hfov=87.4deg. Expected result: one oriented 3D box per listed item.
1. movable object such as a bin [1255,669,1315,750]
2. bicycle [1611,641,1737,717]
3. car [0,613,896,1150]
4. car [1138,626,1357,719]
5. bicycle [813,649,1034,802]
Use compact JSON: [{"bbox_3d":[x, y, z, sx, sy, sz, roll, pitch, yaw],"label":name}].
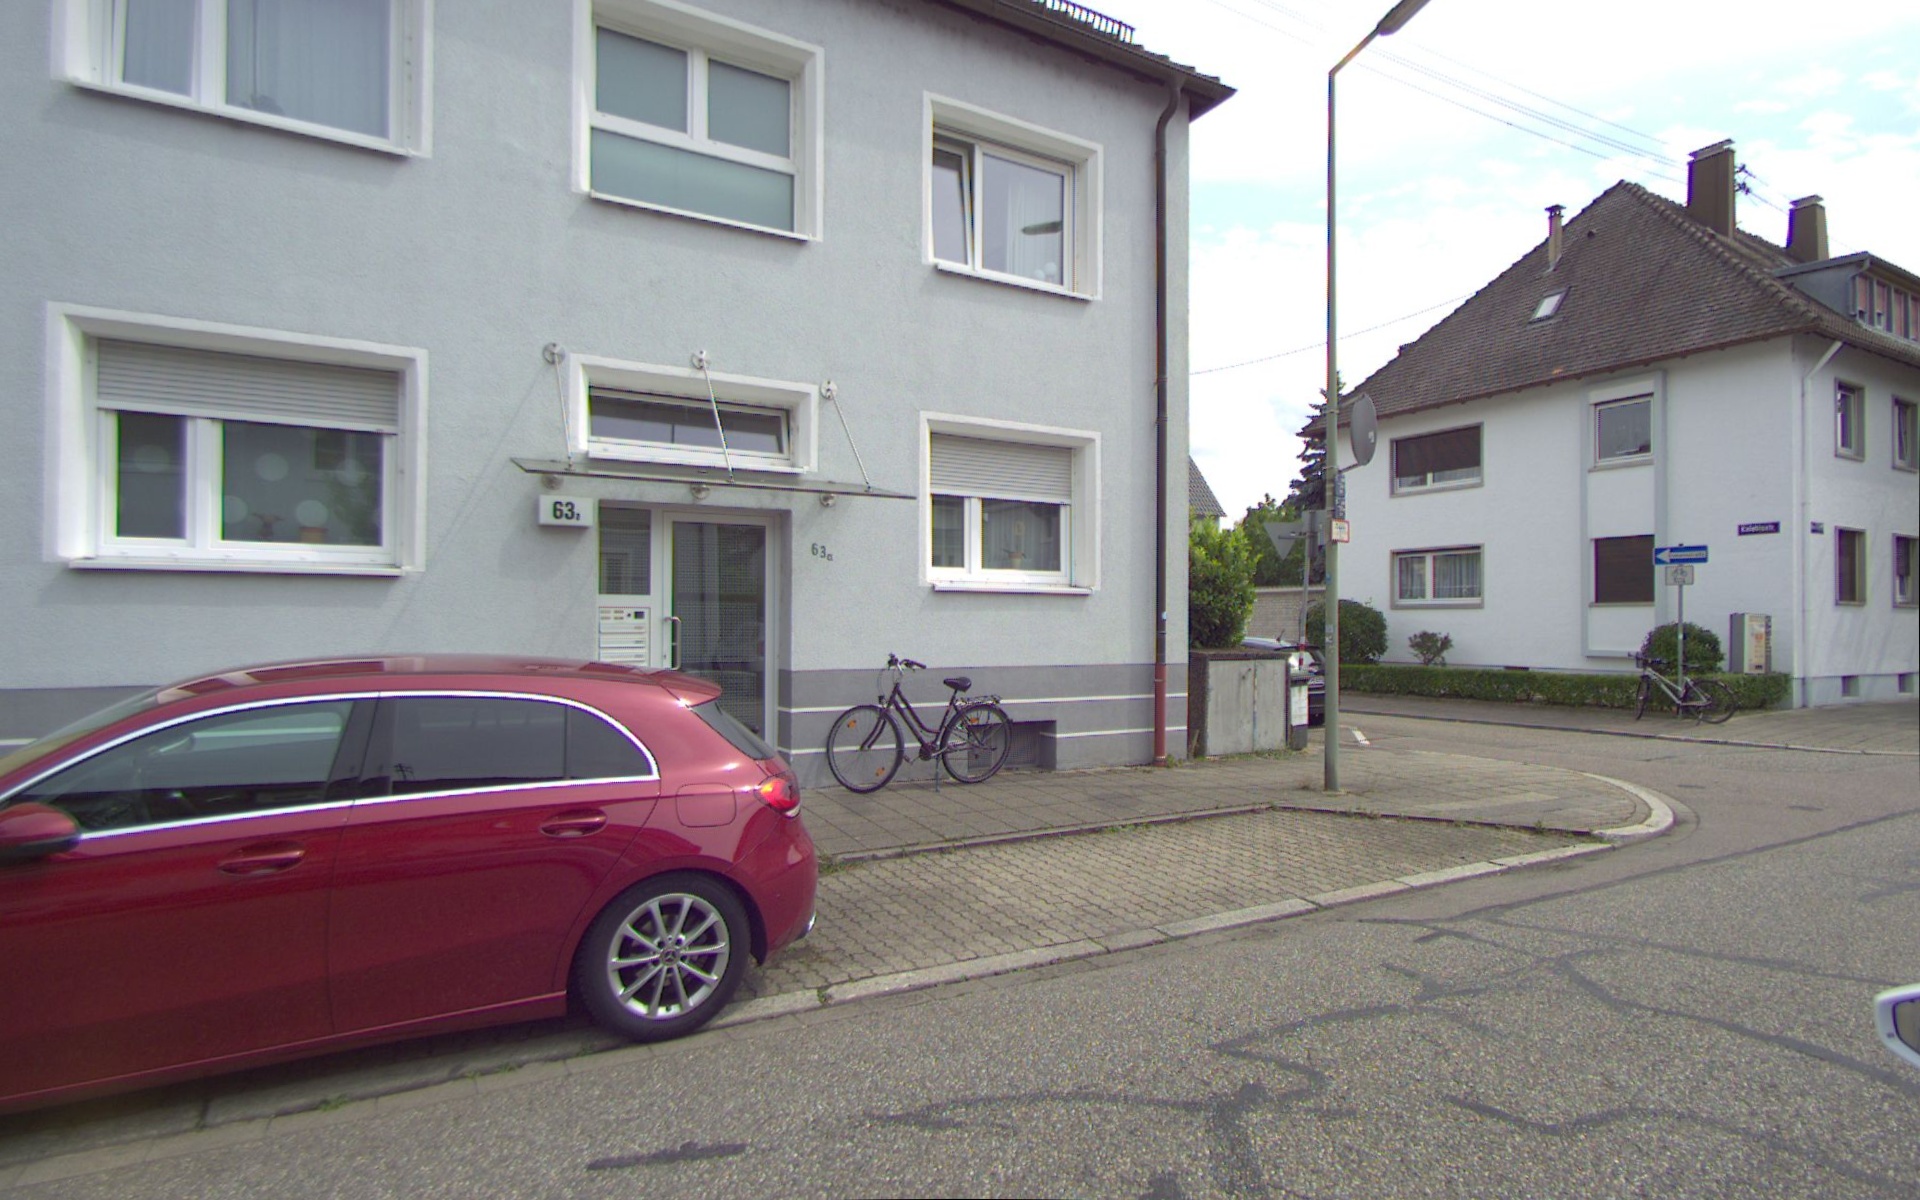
[{"bbox_3d":[3.846,1.279,11.902,0.471,0.918,0.483,1,-3,-35],"label":"movable object such as a bin"},{"bbox_3d":[11.753,1.283,16.589,0.430,1.194,1.624,1,-3,-33],"label":"bicycle"},{"bbox_3d":[-2.656,0.850,3.957,4.458,1.505,1.869,1,-3,-30],"label":"car"},{"bbox_3d":[4.891,1.239,17.614,1.641,1.441,3.746,1,-3,-25],"label":"car"},{"bbox_3d":[-0.283,1.008,8.485,1.851,1.168,0.488,1,-3,-30],"label":"bicycle"}]
